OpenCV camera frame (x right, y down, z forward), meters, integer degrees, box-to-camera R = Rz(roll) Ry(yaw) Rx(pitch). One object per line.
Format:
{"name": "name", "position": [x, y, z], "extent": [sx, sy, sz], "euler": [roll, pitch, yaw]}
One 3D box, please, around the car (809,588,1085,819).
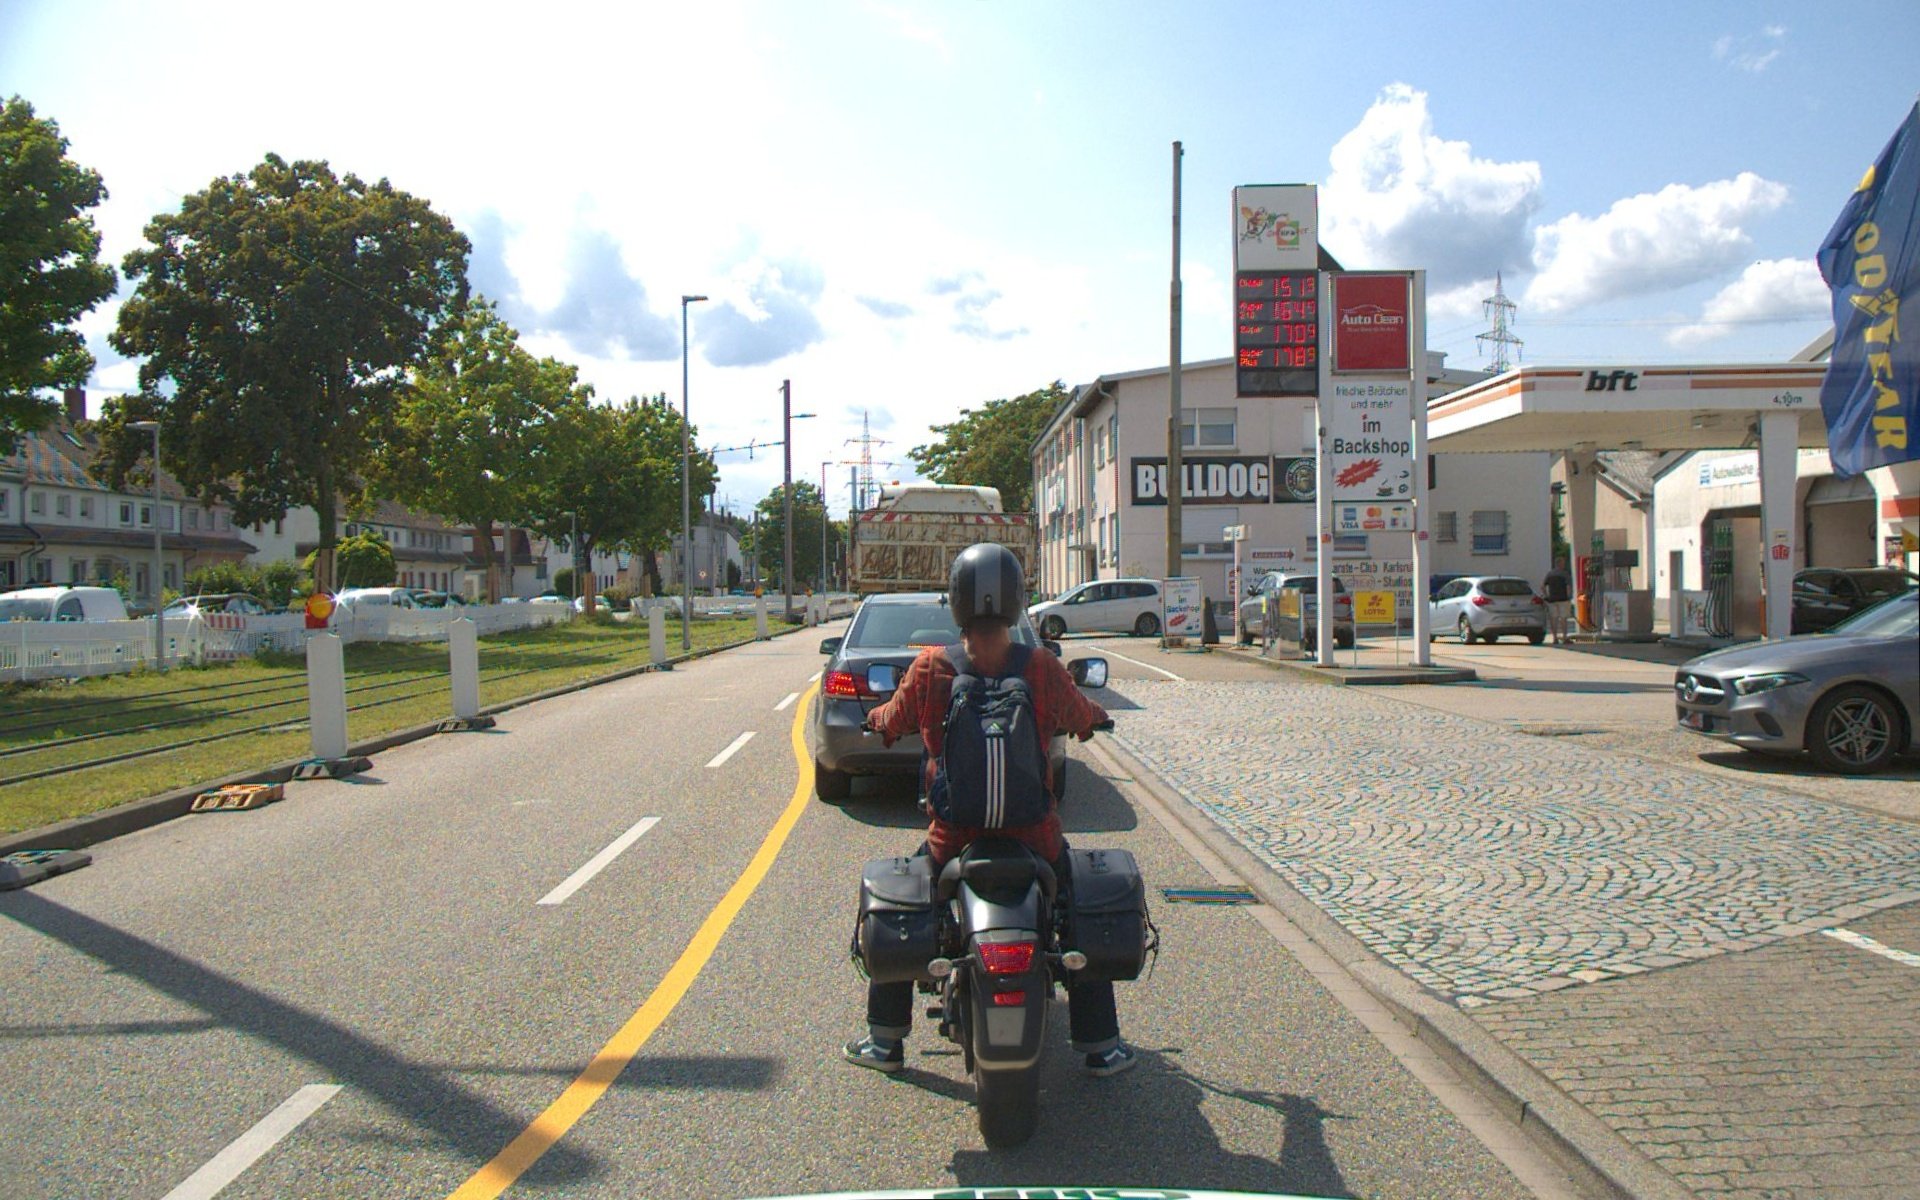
{"name": "car", "position": [-0.112, 0.663, 12.814], "extent": [1.786, 1.478, 3.999], "euler": [1, 0, -1]}

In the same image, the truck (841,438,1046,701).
{"name": "truck", "position": [-0.269, -0.433, 25.367], "extent": [2.585, 3.354, 8.055], "euler": [-1, 0, -1]}

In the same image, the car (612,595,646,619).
{"name": "car", "position": [-24.991, 0.511, 124.849], "extent": [1.740, 1.753, 4.127], "euler": [-1, 0, -1]}

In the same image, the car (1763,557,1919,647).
{"name": "car", "position": [16.611, 0.009, 30.327], "extent": [1.770, 1.529, 3.832], "euler": [-1, 0, -3]}

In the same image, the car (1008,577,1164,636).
{"name": "car", "position": [3.554, 0.166, 47.099], "extent": [4.152, 1.570, 1.669], "euler": [-1, 0, -9]}

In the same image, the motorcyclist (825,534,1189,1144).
{"name": "motorcyclist", "position": [0.120, 0.640, 5.020], "extent": [0.959, 1.630, 1.087], "euler": [-1, 0, -1]}

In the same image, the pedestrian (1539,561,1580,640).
{"name": "pedestrian", "position": [12.946, 0.013, 35.718], "extent": [0.696, 1.685, 0.546], "euler": [-1, 0, 35]}

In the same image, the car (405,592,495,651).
{"name": "car", "position": [-16.984, 0.685, 55.259], "extent": [1.740, 1.837, 4.127], "euler": [-1, 0, -1]}

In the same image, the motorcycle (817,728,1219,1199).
{"name": "motorcycle", "position": [0.122, 0.994, 5.326], "extent": [0.959, 0.912, 2.653], "euler": [-1, 1, -1]}

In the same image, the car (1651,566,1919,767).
{"name": "car", "position": [7.796, 0.448, 12.797], "extent": [4.183, 1.440, 1.675], "euler": [-1, 0, 3]}

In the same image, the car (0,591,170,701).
{"name": "car", "position": [-16.444, 0.778, 30.388], "extent": [1.740, 1.853, 4.363], "euler": [-1, 0, -1]}

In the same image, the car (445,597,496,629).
{"name": "car", "position": [-28.320, 0.753, 95.830], "extent": [1.740, 1.753, 4.127], "euler": [-1, 0, -1]}

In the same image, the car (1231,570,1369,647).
{"name": "car", "position": [7.449, 0.160, 36.635], "extent": [1.636, 1.589, 4.236], "euler": [-1, 0, -8]}

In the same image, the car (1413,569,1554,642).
{"name": "car", "position": [11.713, 0.102, 37.271], "extent": [1.770, 1.529, 3.831], "euler": [-1, 0, -3]}

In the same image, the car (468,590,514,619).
{"name": "car", "position": [-29.448, 0.247, 103.947], "extent": [1.740, 1.753, 4.127], "euler": [-1, 0, -1]}

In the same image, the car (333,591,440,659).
{"name": "car", "position": [-16.951, 0.702, 49.081], "extent": [1.740, 1.900, 4.127], "euler": [-1, 0, -1]}

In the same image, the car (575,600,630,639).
{"name": "car", "position": [-17.069, 0.890, 79.223], "extent": [1.740, 1.753, 4.127], "euler": [-1, 0, -1]}

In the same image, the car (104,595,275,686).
{"name": "car", "position": [-16.681, 0.833, 36.024], "extent": [1.740, 1.805, 4.227], "euler": [-1, 0, -1]}
